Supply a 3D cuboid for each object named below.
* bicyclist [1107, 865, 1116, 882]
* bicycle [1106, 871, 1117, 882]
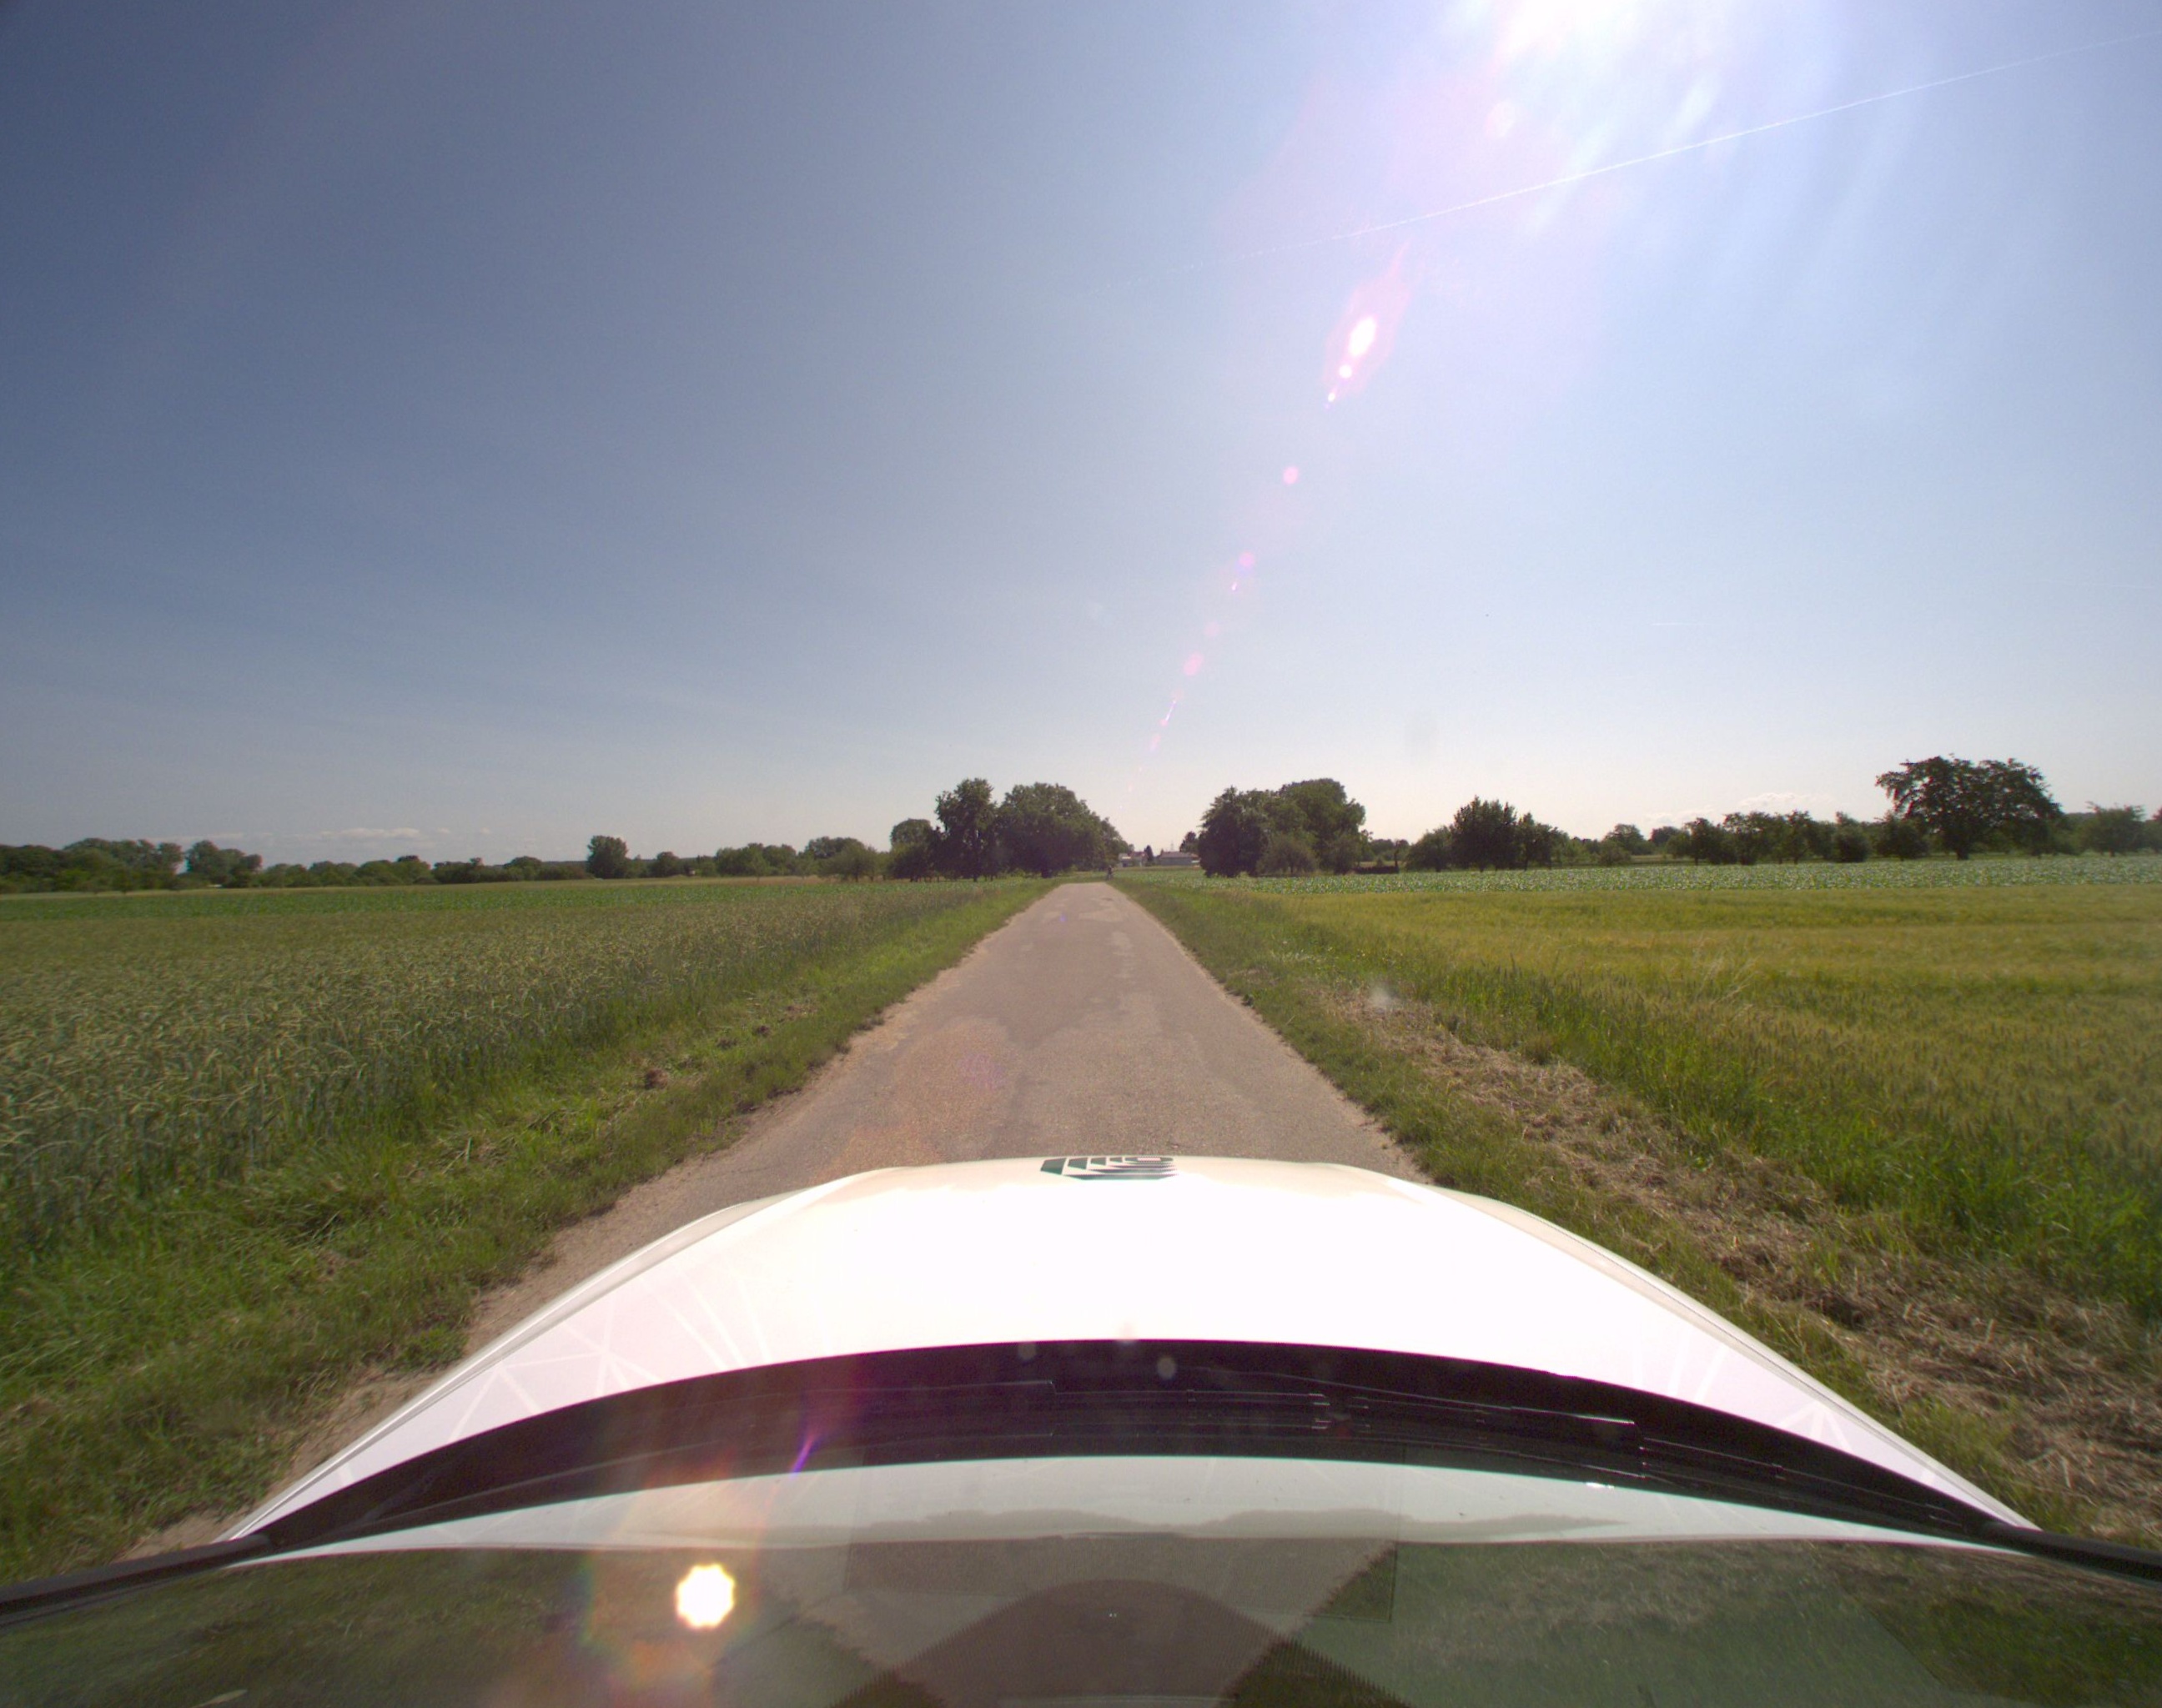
[{"bbox_3d":[3.241,2.048,86.428,0.745,1.791,0.719,-3,-2,11],"label":"bicyclist"},{"bbox_3d":[3.253,2.375,86.415,0.745,1.127,1.914,-3,-1,11],"label":"bicycle"}]
